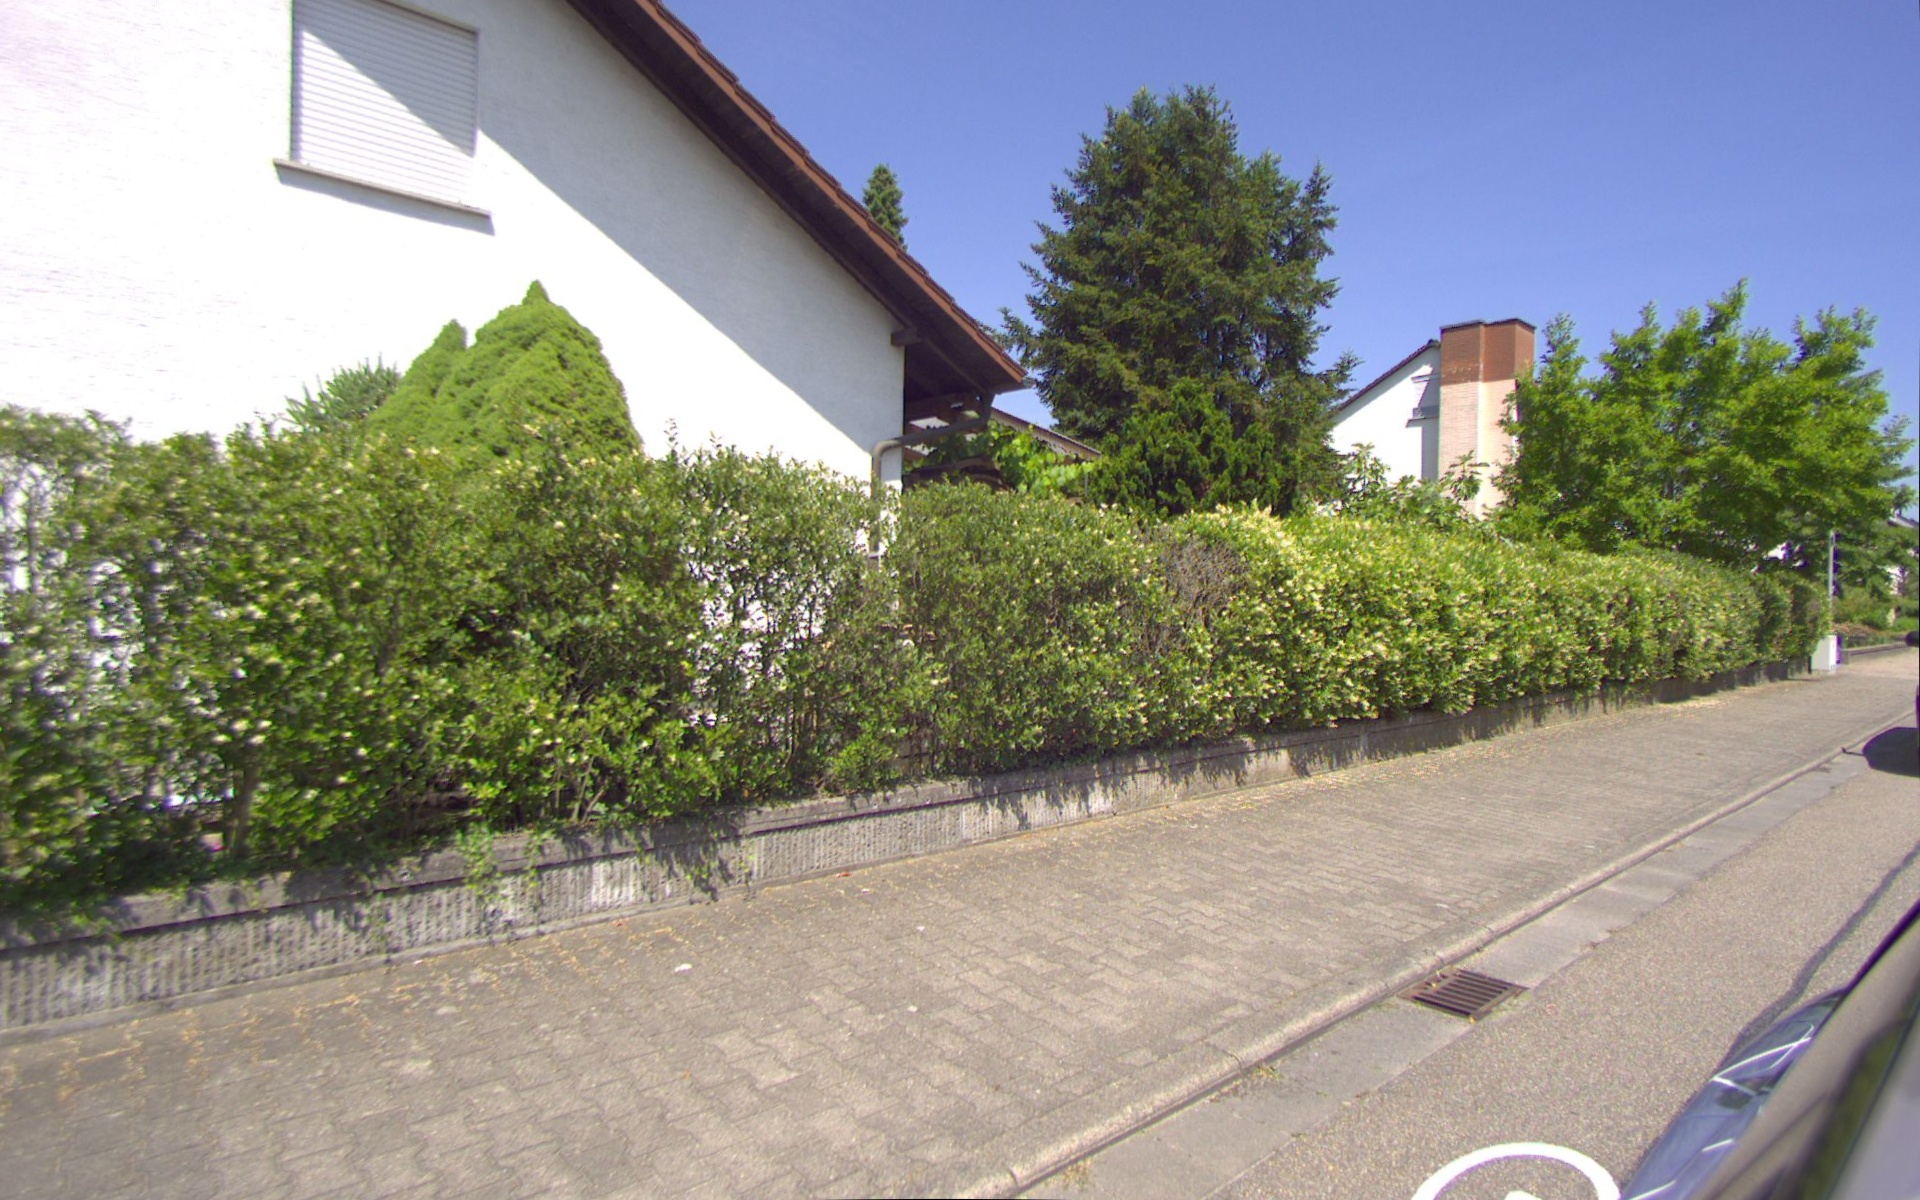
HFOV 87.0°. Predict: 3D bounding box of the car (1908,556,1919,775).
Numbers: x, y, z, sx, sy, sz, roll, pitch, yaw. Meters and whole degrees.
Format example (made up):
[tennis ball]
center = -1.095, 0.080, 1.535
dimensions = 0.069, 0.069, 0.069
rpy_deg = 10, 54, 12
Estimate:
[car]
center = 10.774, 0.579, 9.580
dimensions = 4.978, 1.879, 2.017
rpy_deg = 0, 1, -40
